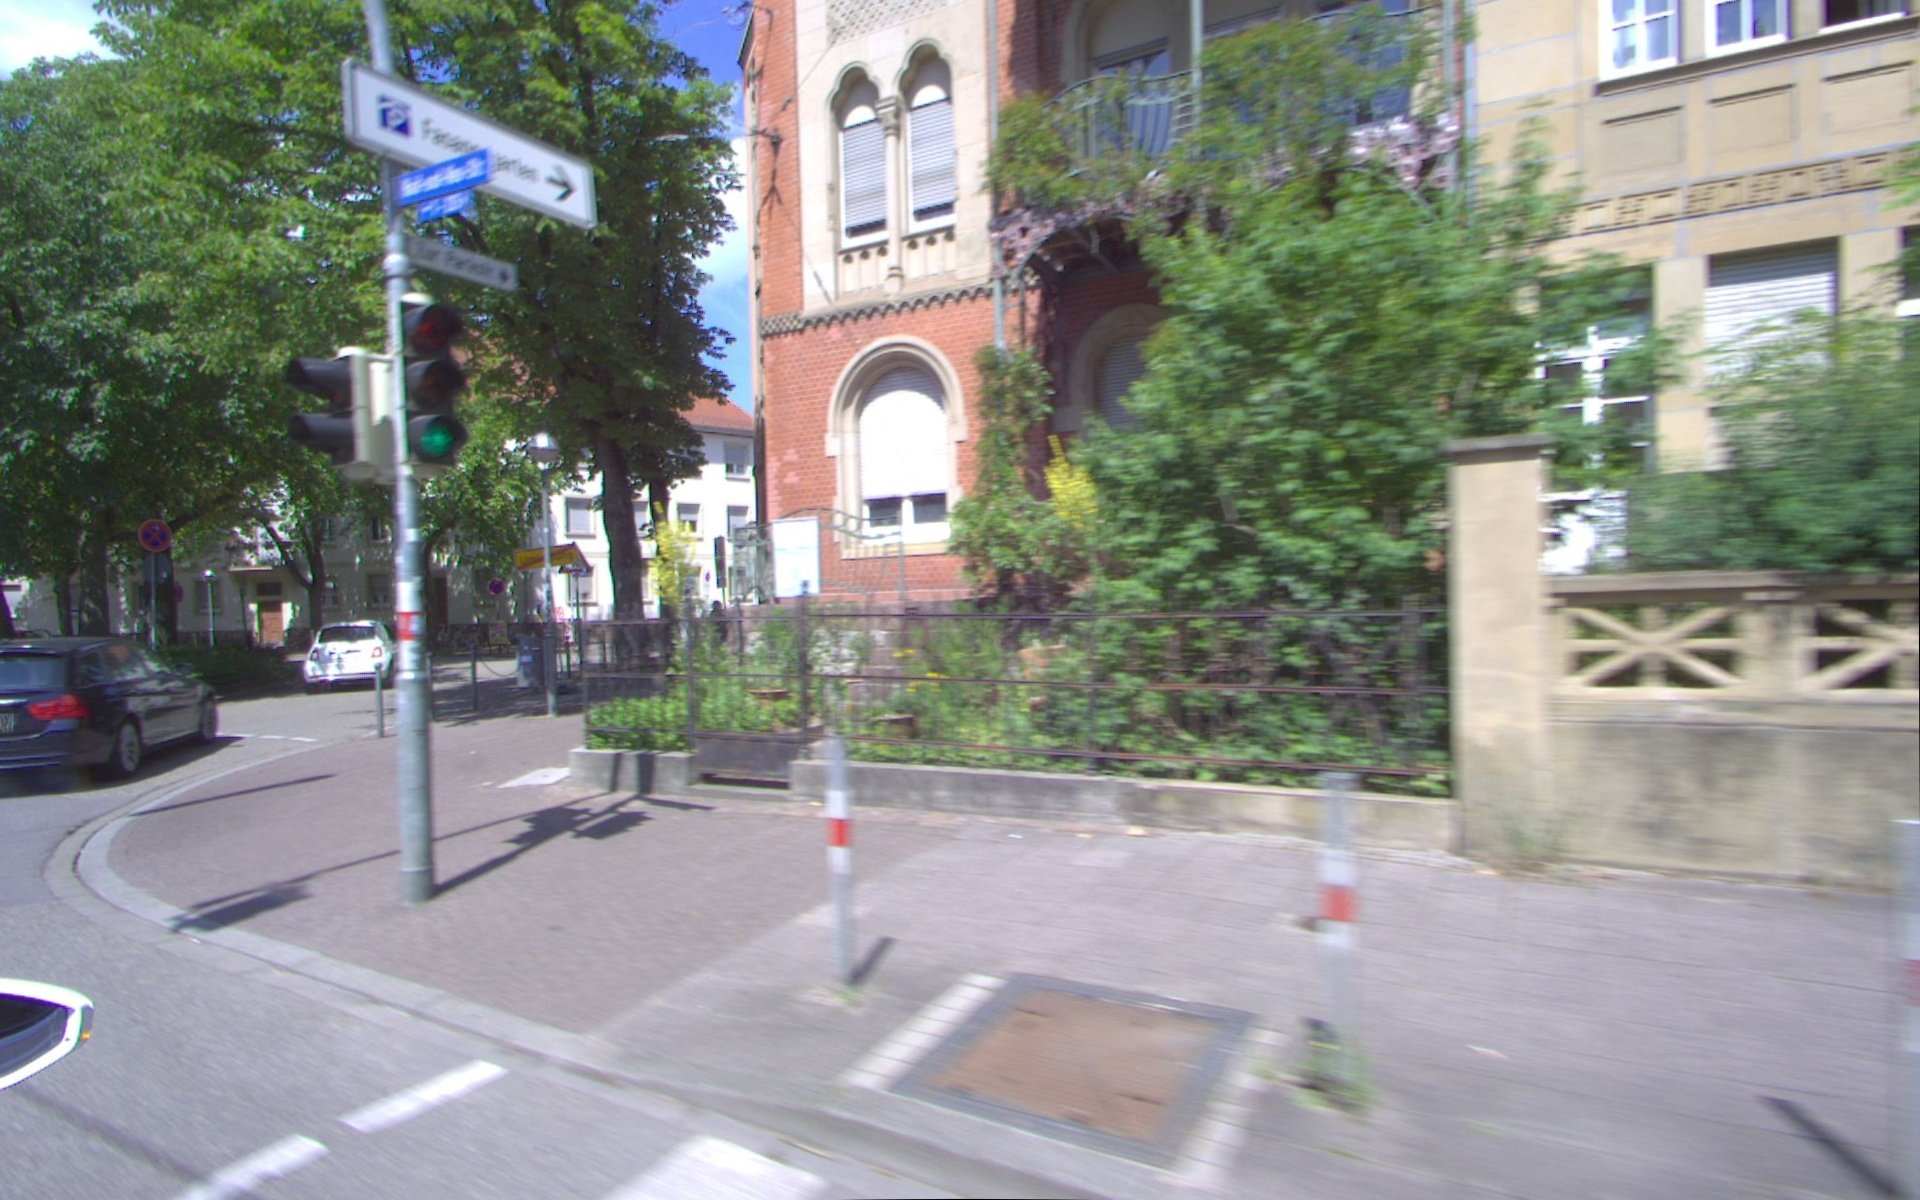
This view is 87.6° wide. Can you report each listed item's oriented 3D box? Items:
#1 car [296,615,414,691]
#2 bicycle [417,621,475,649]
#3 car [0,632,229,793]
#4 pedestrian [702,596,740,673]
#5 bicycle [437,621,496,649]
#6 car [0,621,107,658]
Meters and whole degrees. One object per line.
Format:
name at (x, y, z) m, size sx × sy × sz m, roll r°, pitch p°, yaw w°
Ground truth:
car at (-13.518, 1.120, 22.577) m, size 1.662 × 1.504 × 3.673 m, roll -1°, pitch 0°, yaw -22°
bicycle at (-21.297, 1.423, 41.512) m, size 0.549 × 1.072 × 2.207 m, roll -1°, pitch 0°, yaw 28°
car at (-9.599, 1.075, 10.913) m, size 1.701 × 1.427 × 4.550 m, roll 1°, pitch -2°, yaw -24°
pedestrian at (-5.085, 0.721, 21.355) m, size 0.736 × 1.577 × 0.800 m, roll -1°, pitch 1°, yaw -14°
bicycle at (-19.917, 1.399, 40.428) m, size 0.644 × 1.072 × 2.209 m, roll -1°, pitch 0°, yaw 25°
car at (-36.490, 1.565, 39.339) m, size 4.255 × 1.346 × 1.791 m, roll -1°, pitch 0°, yaw -5°
